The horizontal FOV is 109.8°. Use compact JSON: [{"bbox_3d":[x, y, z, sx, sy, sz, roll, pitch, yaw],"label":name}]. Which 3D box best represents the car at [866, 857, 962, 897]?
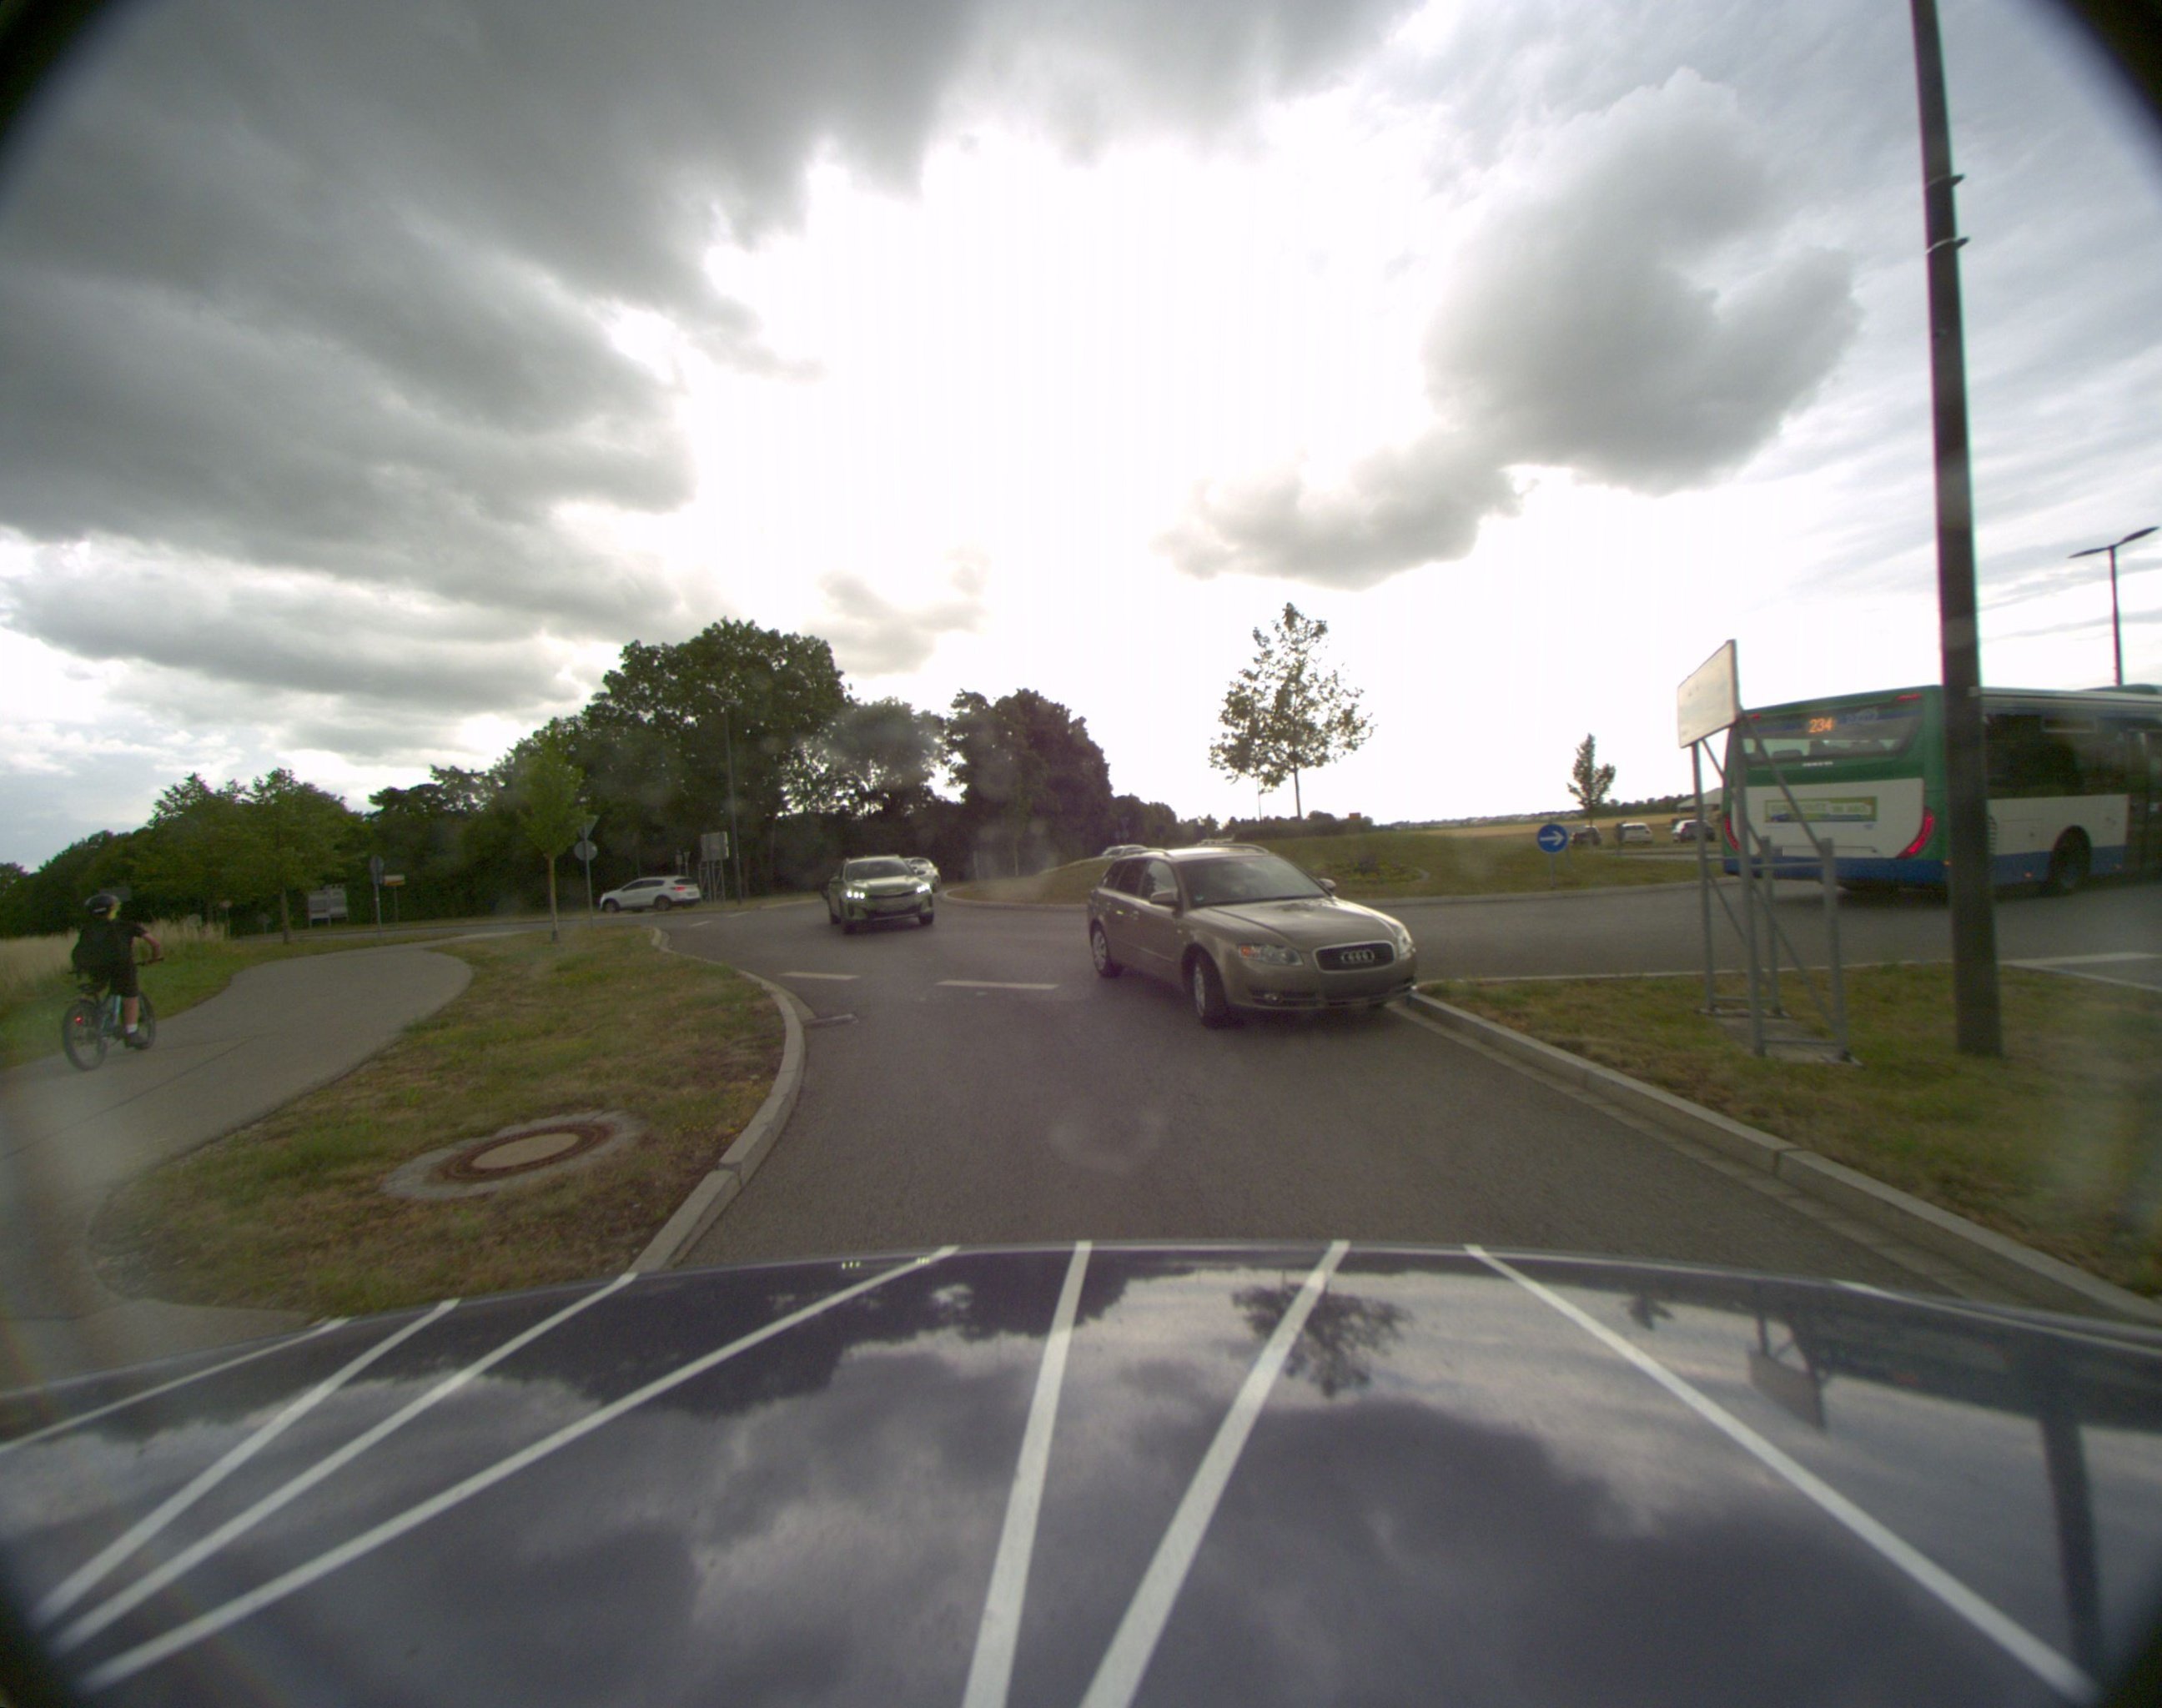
[{"bbox_3d":[-6.305,0.885,29.276,1.923,1.318,4.280,-3,-2,13],"label":"car"}]

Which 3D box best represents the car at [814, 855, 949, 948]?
[{"bbox_3d":[-4.486,0.868,16.500,1.928,1.494,4.870,-6,3,-24],"label":"car"}]

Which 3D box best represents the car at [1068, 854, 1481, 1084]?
[{"bbox_3d":[1.383,0.775,7.447,1.784,1.456,4.534,-2,0,-17],"label":"car"}]

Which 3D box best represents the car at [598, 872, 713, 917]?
[{"bbox_3d":[-19.739,1.857,35.330,4.268,1.593,1.927,-5,1,10],"label":"car"}]

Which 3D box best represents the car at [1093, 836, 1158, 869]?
[{"bbox_3d":[2.528,-0.113,41.992,1.777,1.532,4.006,-4,2,32],"label":"car"}]

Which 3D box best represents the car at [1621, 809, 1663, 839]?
[{"bbox_3d":[36.408,-1.985,49.262,1.712,1.544,4.006,-6,1,42],"label":"car"}]

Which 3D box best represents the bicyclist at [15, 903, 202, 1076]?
[{"bbox_3d":[-9.220,1.235,7.257,0.725,1.438,0.867,-3,1,-25],"label":"bicyclist"}]

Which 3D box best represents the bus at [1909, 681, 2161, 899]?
[{"bbox_3d":[18.490,-1.112,13.485,6.553,3.240,2.521,-3,2,-17],"label":"bus"}]

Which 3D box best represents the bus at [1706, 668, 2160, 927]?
[{"bbox_3d":[12.826,-0.841,11.537,5.464,3.240,2.521,-3,2,-17],"label":"bus"}]

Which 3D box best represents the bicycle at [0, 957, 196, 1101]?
[{"bbox_3d":[-9.087,1.546,7.037,0.498,0.941,1.710,-3,1,-27],"label":"bicycle"}]

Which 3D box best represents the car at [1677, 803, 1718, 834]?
[{"bbox_3d":[38.674,-2.228,47.612,1.712,1.544,4.006,-6,1,42],"label":"car"}]

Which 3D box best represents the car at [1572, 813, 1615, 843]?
[{"bbox_3d":[34.243,-1.750,50.715,1.712,1.544,4.006,-6,1,42],"label":"car"}]
